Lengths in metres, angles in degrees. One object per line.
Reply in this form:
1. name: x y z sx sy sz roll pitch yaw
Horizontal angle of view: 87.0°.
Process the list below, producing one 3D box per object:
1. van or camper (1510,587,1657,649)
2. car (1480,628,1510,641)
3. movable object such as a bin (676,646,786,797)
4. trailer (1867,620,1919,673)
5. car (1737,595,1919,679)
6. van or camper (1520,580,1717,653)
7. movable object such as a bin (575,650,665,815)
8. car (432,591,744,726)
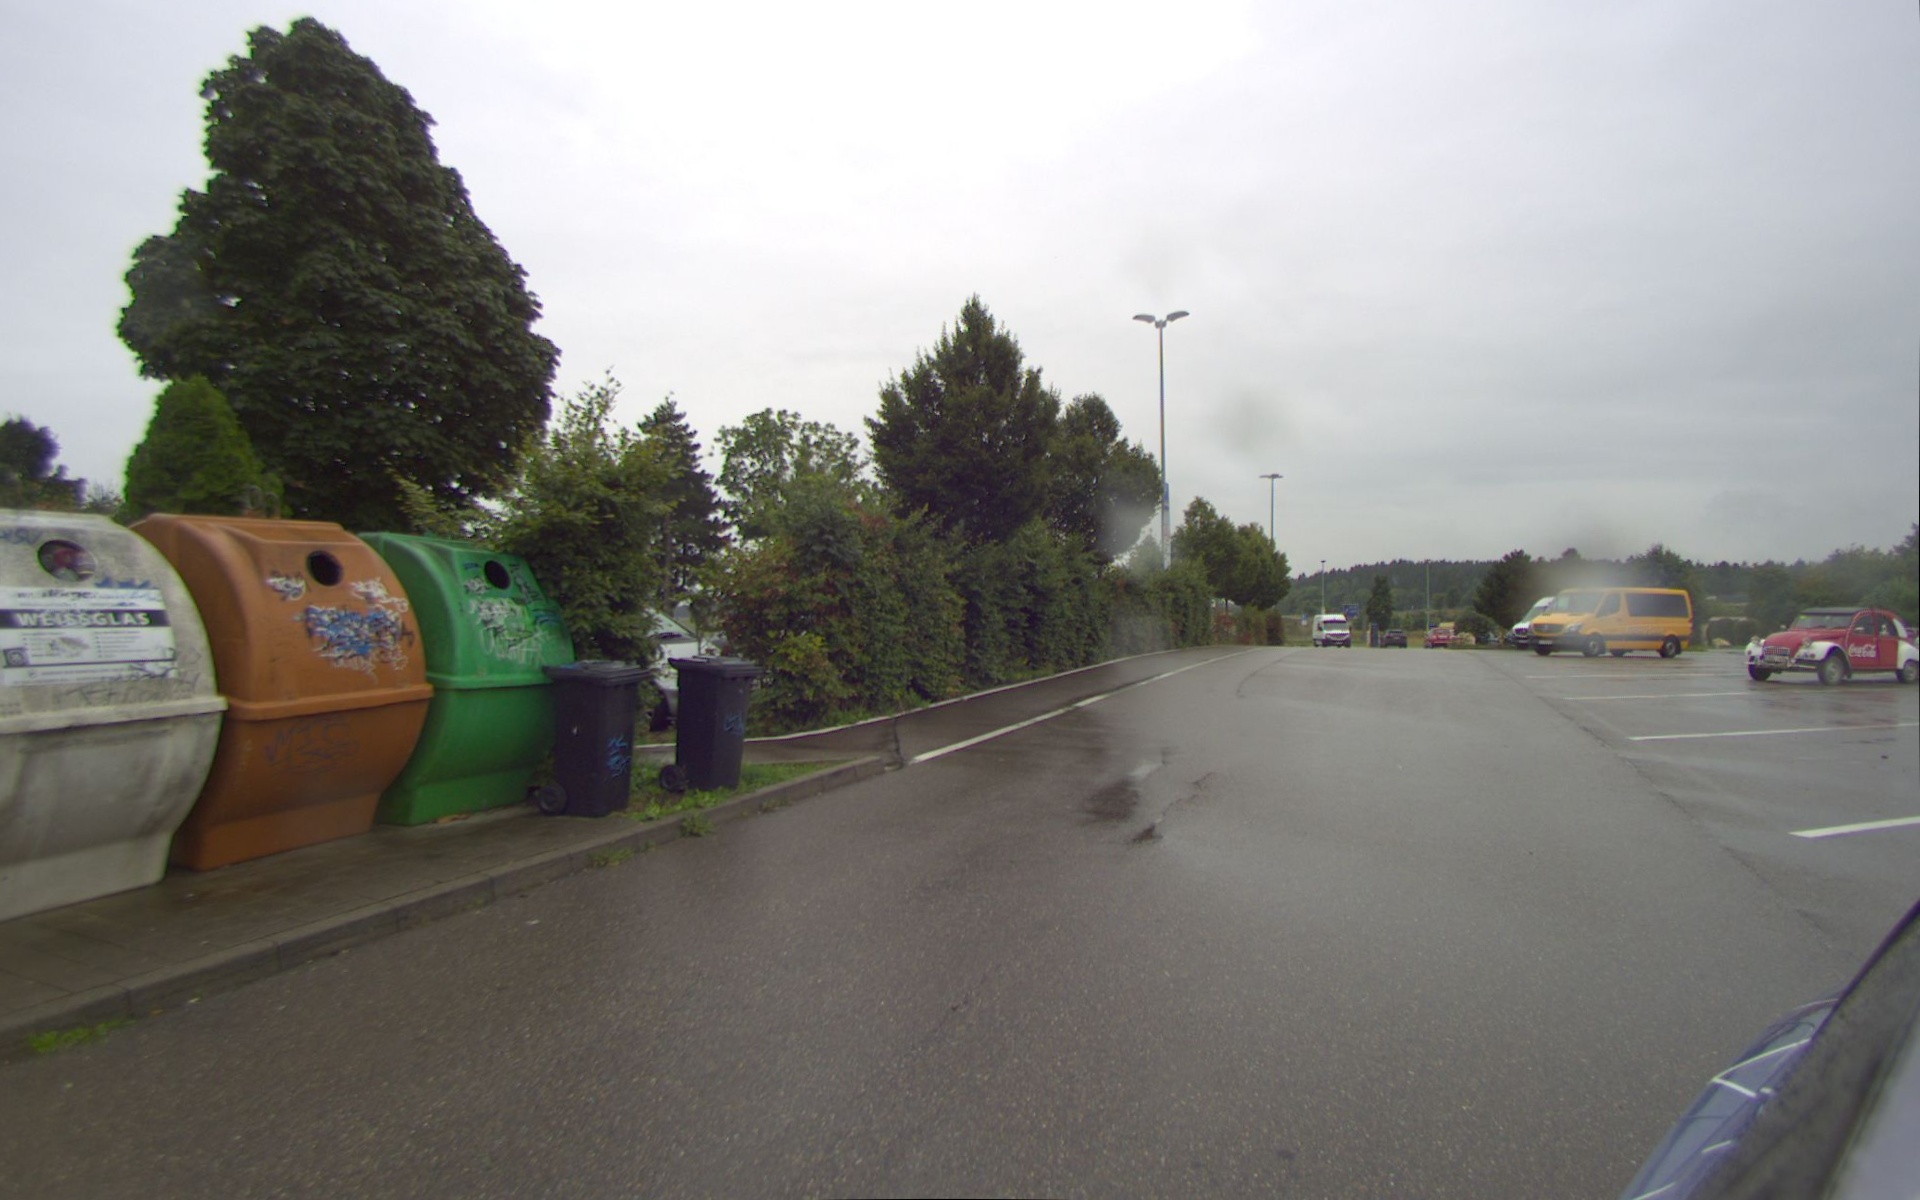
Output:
1. van or camper: 29.415 0.828 47.704 6.919 2.749 2.005 1 1 -20
2. car: 46.044 2.960 87.144 1.688 1.013 3.743 1 0 19
3. movable object such as a bin: -1.573 0.801 6.929 0.546 0.932 0.630 1 0 -33
4. trailer: 21.221 0.997 21.512 2.966 1.081 1.592 1 -1 -17
5. car: 17.904 0.716 20.389 3.971 1.575 1.553 1 0 -17
6. van or camper: 21.823 0.537 33.522 6.282 2.275 2.139 1 0 -20
7. movable object such as a bin: -2.113 0.795 6.274 0.408 0.932 0.495 1 0 -33
8. car: -4.734 0.716 12.890 3.622 1.531 1.537 -2 -1 21
